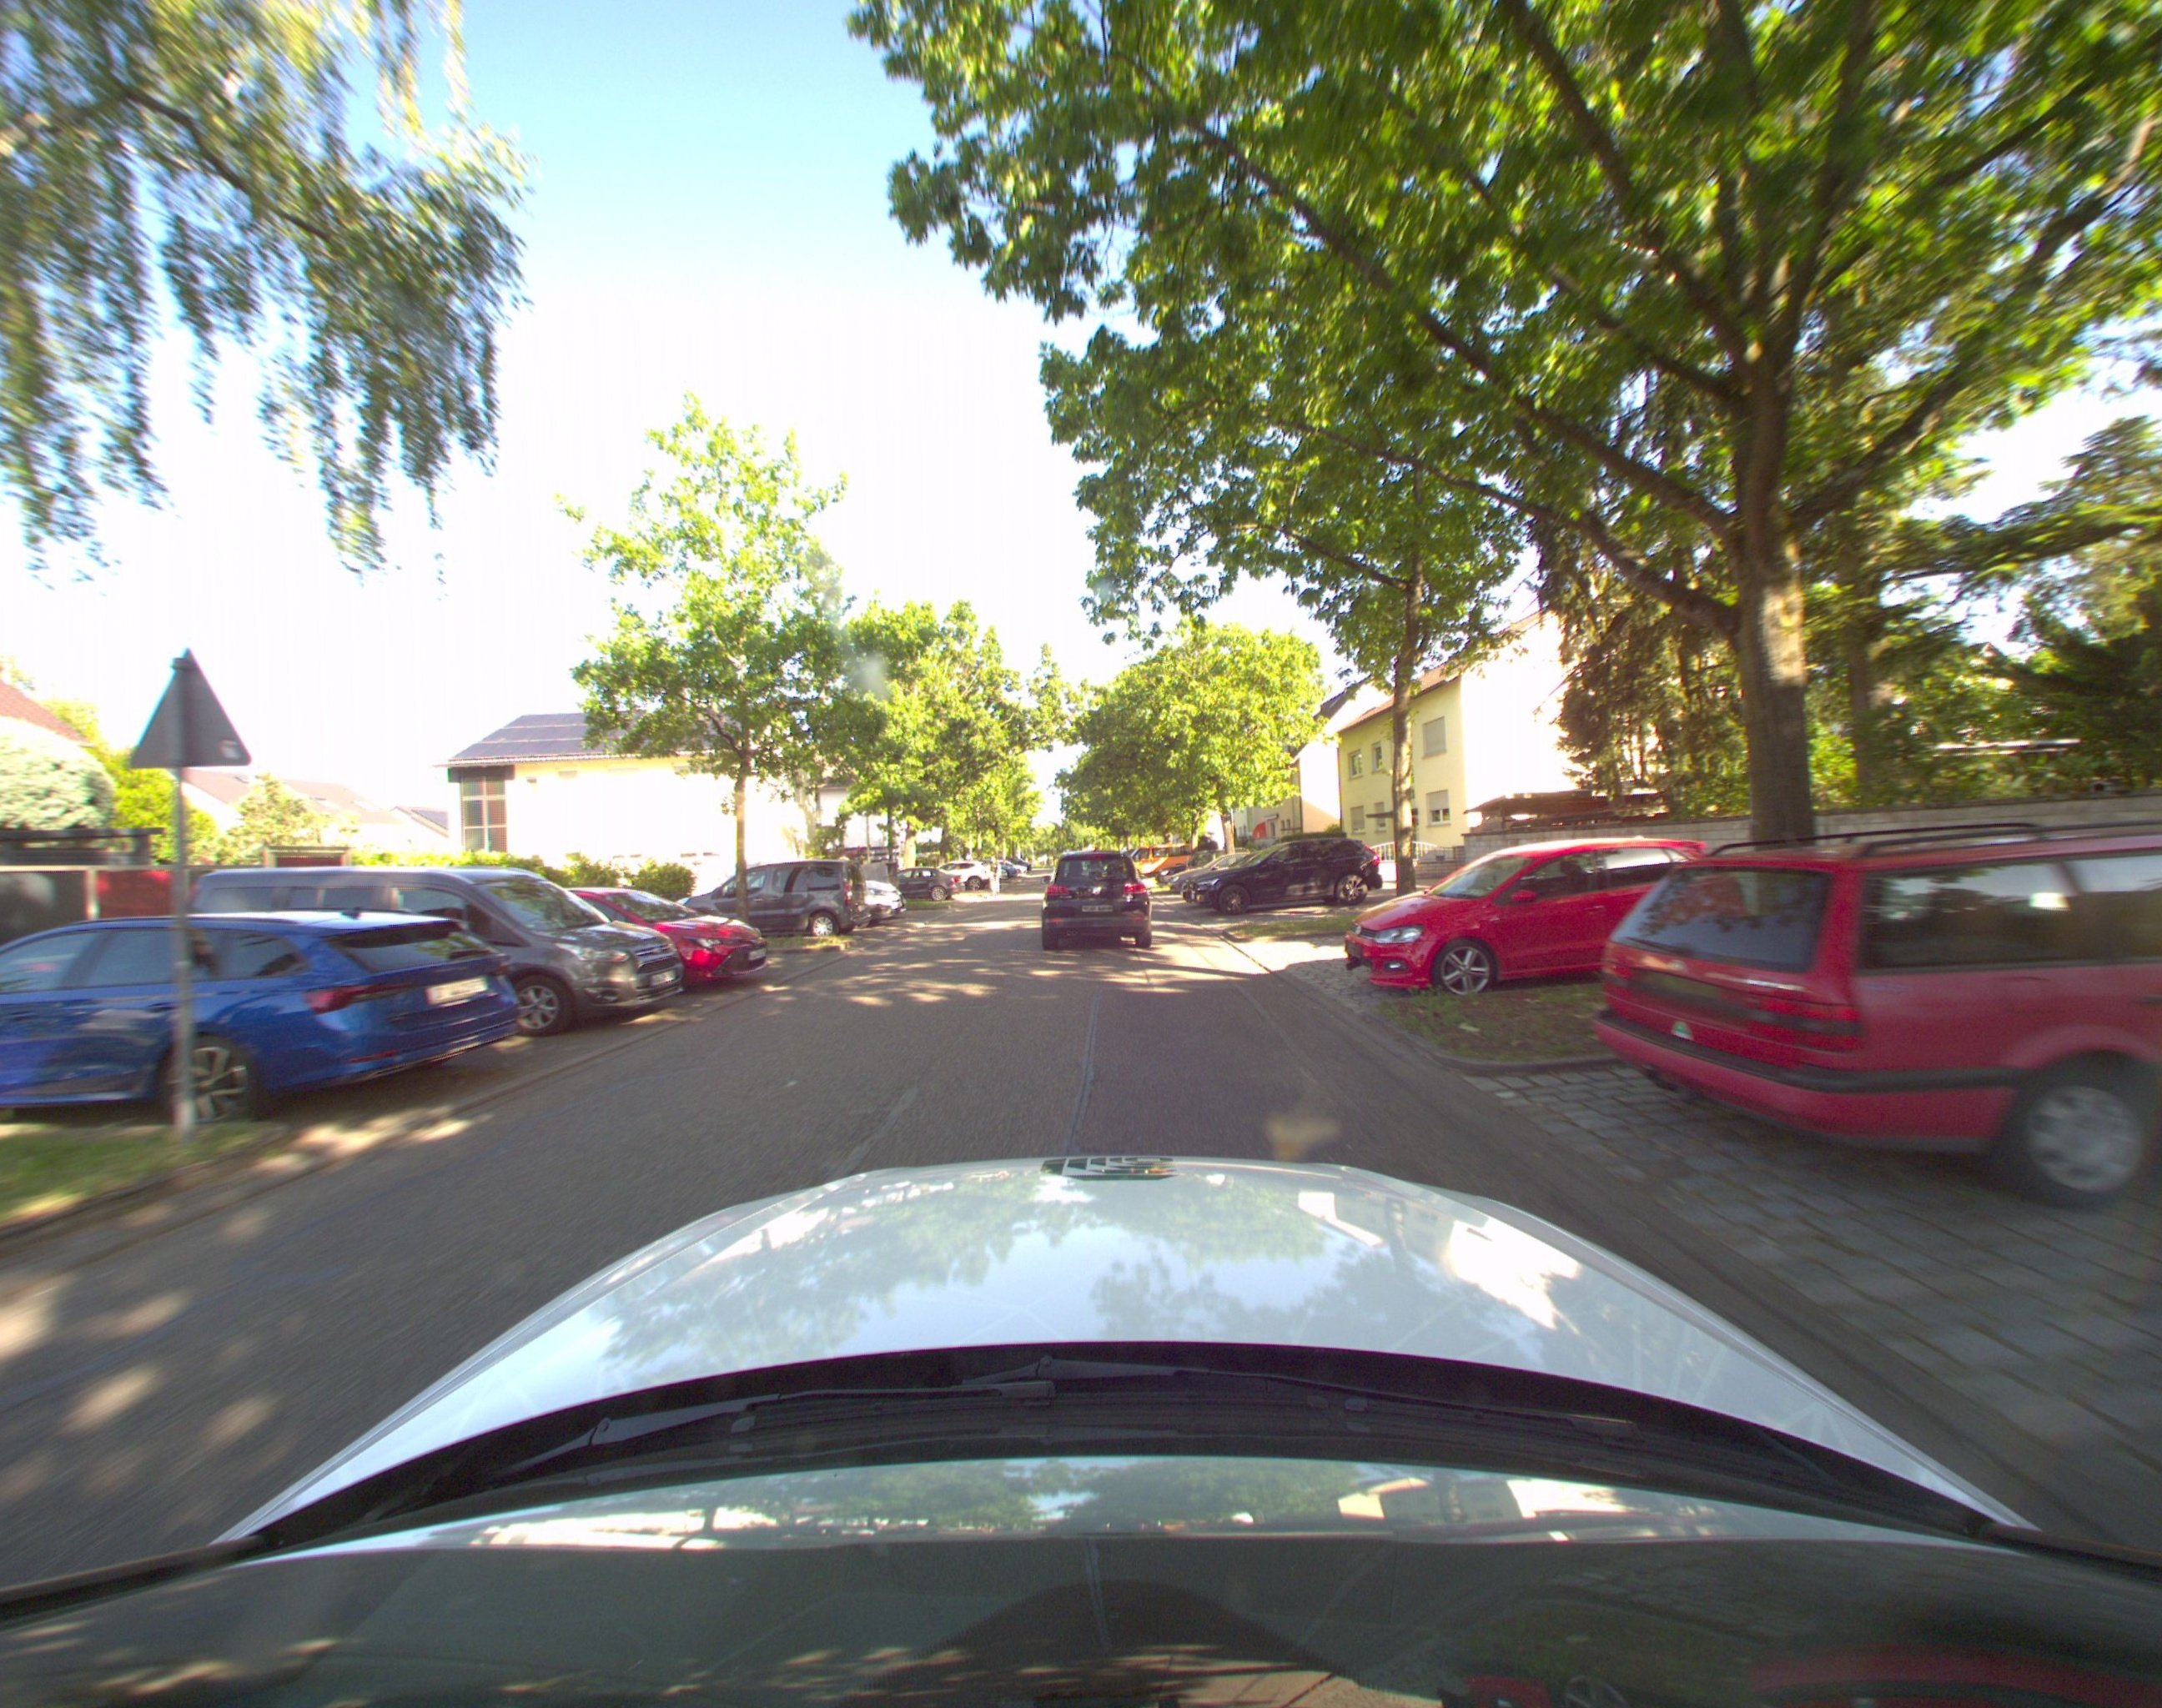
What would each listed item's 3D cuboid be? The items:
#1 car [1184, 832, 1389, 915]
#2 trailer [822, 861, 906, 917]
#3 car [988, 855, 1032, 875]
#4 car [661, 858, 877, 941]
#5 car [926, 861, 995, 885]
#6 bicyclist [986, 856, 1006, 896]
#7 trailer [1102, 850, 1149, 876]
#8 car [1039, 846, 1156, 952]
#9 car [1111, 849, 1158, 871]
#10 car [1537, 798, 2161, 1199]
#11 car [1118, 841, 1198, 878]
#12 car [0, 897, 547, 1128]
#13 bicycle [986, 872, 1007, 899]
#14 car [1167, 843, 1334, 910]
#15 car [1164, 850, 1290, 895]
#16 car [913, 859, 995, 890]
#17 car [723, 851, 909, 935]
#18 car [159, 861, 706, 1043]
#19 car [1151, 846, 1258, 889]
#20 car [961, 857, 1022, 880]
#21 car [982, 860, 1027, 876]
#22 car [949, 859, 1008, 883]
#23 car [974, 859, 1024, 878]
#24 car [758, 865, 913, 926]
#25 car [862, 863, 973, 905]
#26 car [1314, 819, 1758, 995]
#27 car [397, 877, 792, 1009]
[{"bbox_3d":[5.026,0.465,20.347,4.560,1.646,1.837,-4,0,-1],"label":"car"},{"bbox_3d":[-7.072,1.110,26.662,2.226,1.673,1.476,-2,0,3],"label":"trailer"},{"bbox_3d":[-7.927,1.249,91.190,4.769,1.917,2.016,-3,0,-4],"label":"car"},{"bbox_3d":[-7.085,0.998,18.870,4.228,1.770,1.965,0,0,-3],"label":"car"},{"bbox_3d":[-7.320,1.161,49.774,4.024,1.423,1.808,0,-1,-3],"label":"car"},{"bbox_3d":[-3.703,0.932,35.486,0.594,1.674,0.975,-5,-1,1],"label":"bicyclist"},{"bbox_3d":[3.077,0.607,56.484,2.943,1.664,1.611,-3,0,-7],"label":"trailer"},{"bbox_3d":[0.297,0.732,14.898,1.831,1.636,3.958,-1,-1,1],"label":"car"},{"bbox_3d":[4.632,0.510,70.943,3.871,1.515,1.661,-3,5,-1],"label":"car"},{"bbox_3d":[5.081,0.476,4.080,4.487,1.446,1.838,-4,-1,1],"label":"car"},{"bbox_3d":[4.883,0.354,51.915,4.805,2.083,2.085,-3,0,-1],"label":"car"},{"bbox_3d":[-6.862,1.130,6.349,4.254,1.424,1.725,-1,0,2],"label":"car"},{"bbox_3d":[-3.667,1.337,35.414,0.594,1.058,1.986,-5,0,1],"label":"bicycle"},{"bbox_3d":[4.768,0.624,23.288,4.307,1.529,1.840,-4,0,-1],"label":"car"},{"bbox_3d":[5.419,0.677,30.673,4.411,1.331,1.691,-4,0,1],"label":"car"},{"bbox_3d":[-6.875,1.110,44.392,4.173,1.567,1.792,-1,0,0],"label":"car"},{"bbox_3d":[-6.895,1.003,21.593,4.227,1.944,1.998,-3,-1,-3],"label":"car"},{"bbox_3d":[-7.007,1.001,9.190,4.659,1.768,1.795,-1,0,-1],"label":"car"},{"bbox_3d":[5.385,0.583,35.905,4.326,1.560,1.866,-4,0,-2],"label":"car"},{"bbox_3d":[-6.990,1.151,64.125,4.511,1.631,1.936,-3,-1,-1],"label":"car"},{"bbox_3d":[-7.551,1.358,80.487,4.264,1.478,1.767,-1,0,-2],"label":"car"},{"bbox_3d":[-7.475,1.245,59.628,3.975,1.595,1.856,-3,-1,-1],"label":"car"},{"bbox_3d":[-7.086,1.245,70.633,4.170,1.492,1.646,-3,-1,-1],"label":"car"},{"bbox_3d":[-7.144,1.191,23.945,3.975,1.516,1.690,-3,0,-1],"label":"car"},{"bbox_3d":[-6.774,1.223,34.007,4.198,1.471,1.690,-3,0,-1],"label":"car"},{"bbox_3d":[4.703,0.540,8.867,3.764,1.484,1.756,-4,-2,1],"label":"car"},{"bbox_3d":[-6.754,1.197,11.704,4.464,1.500,1.835,-3,0,-2],"label":"car"}]
